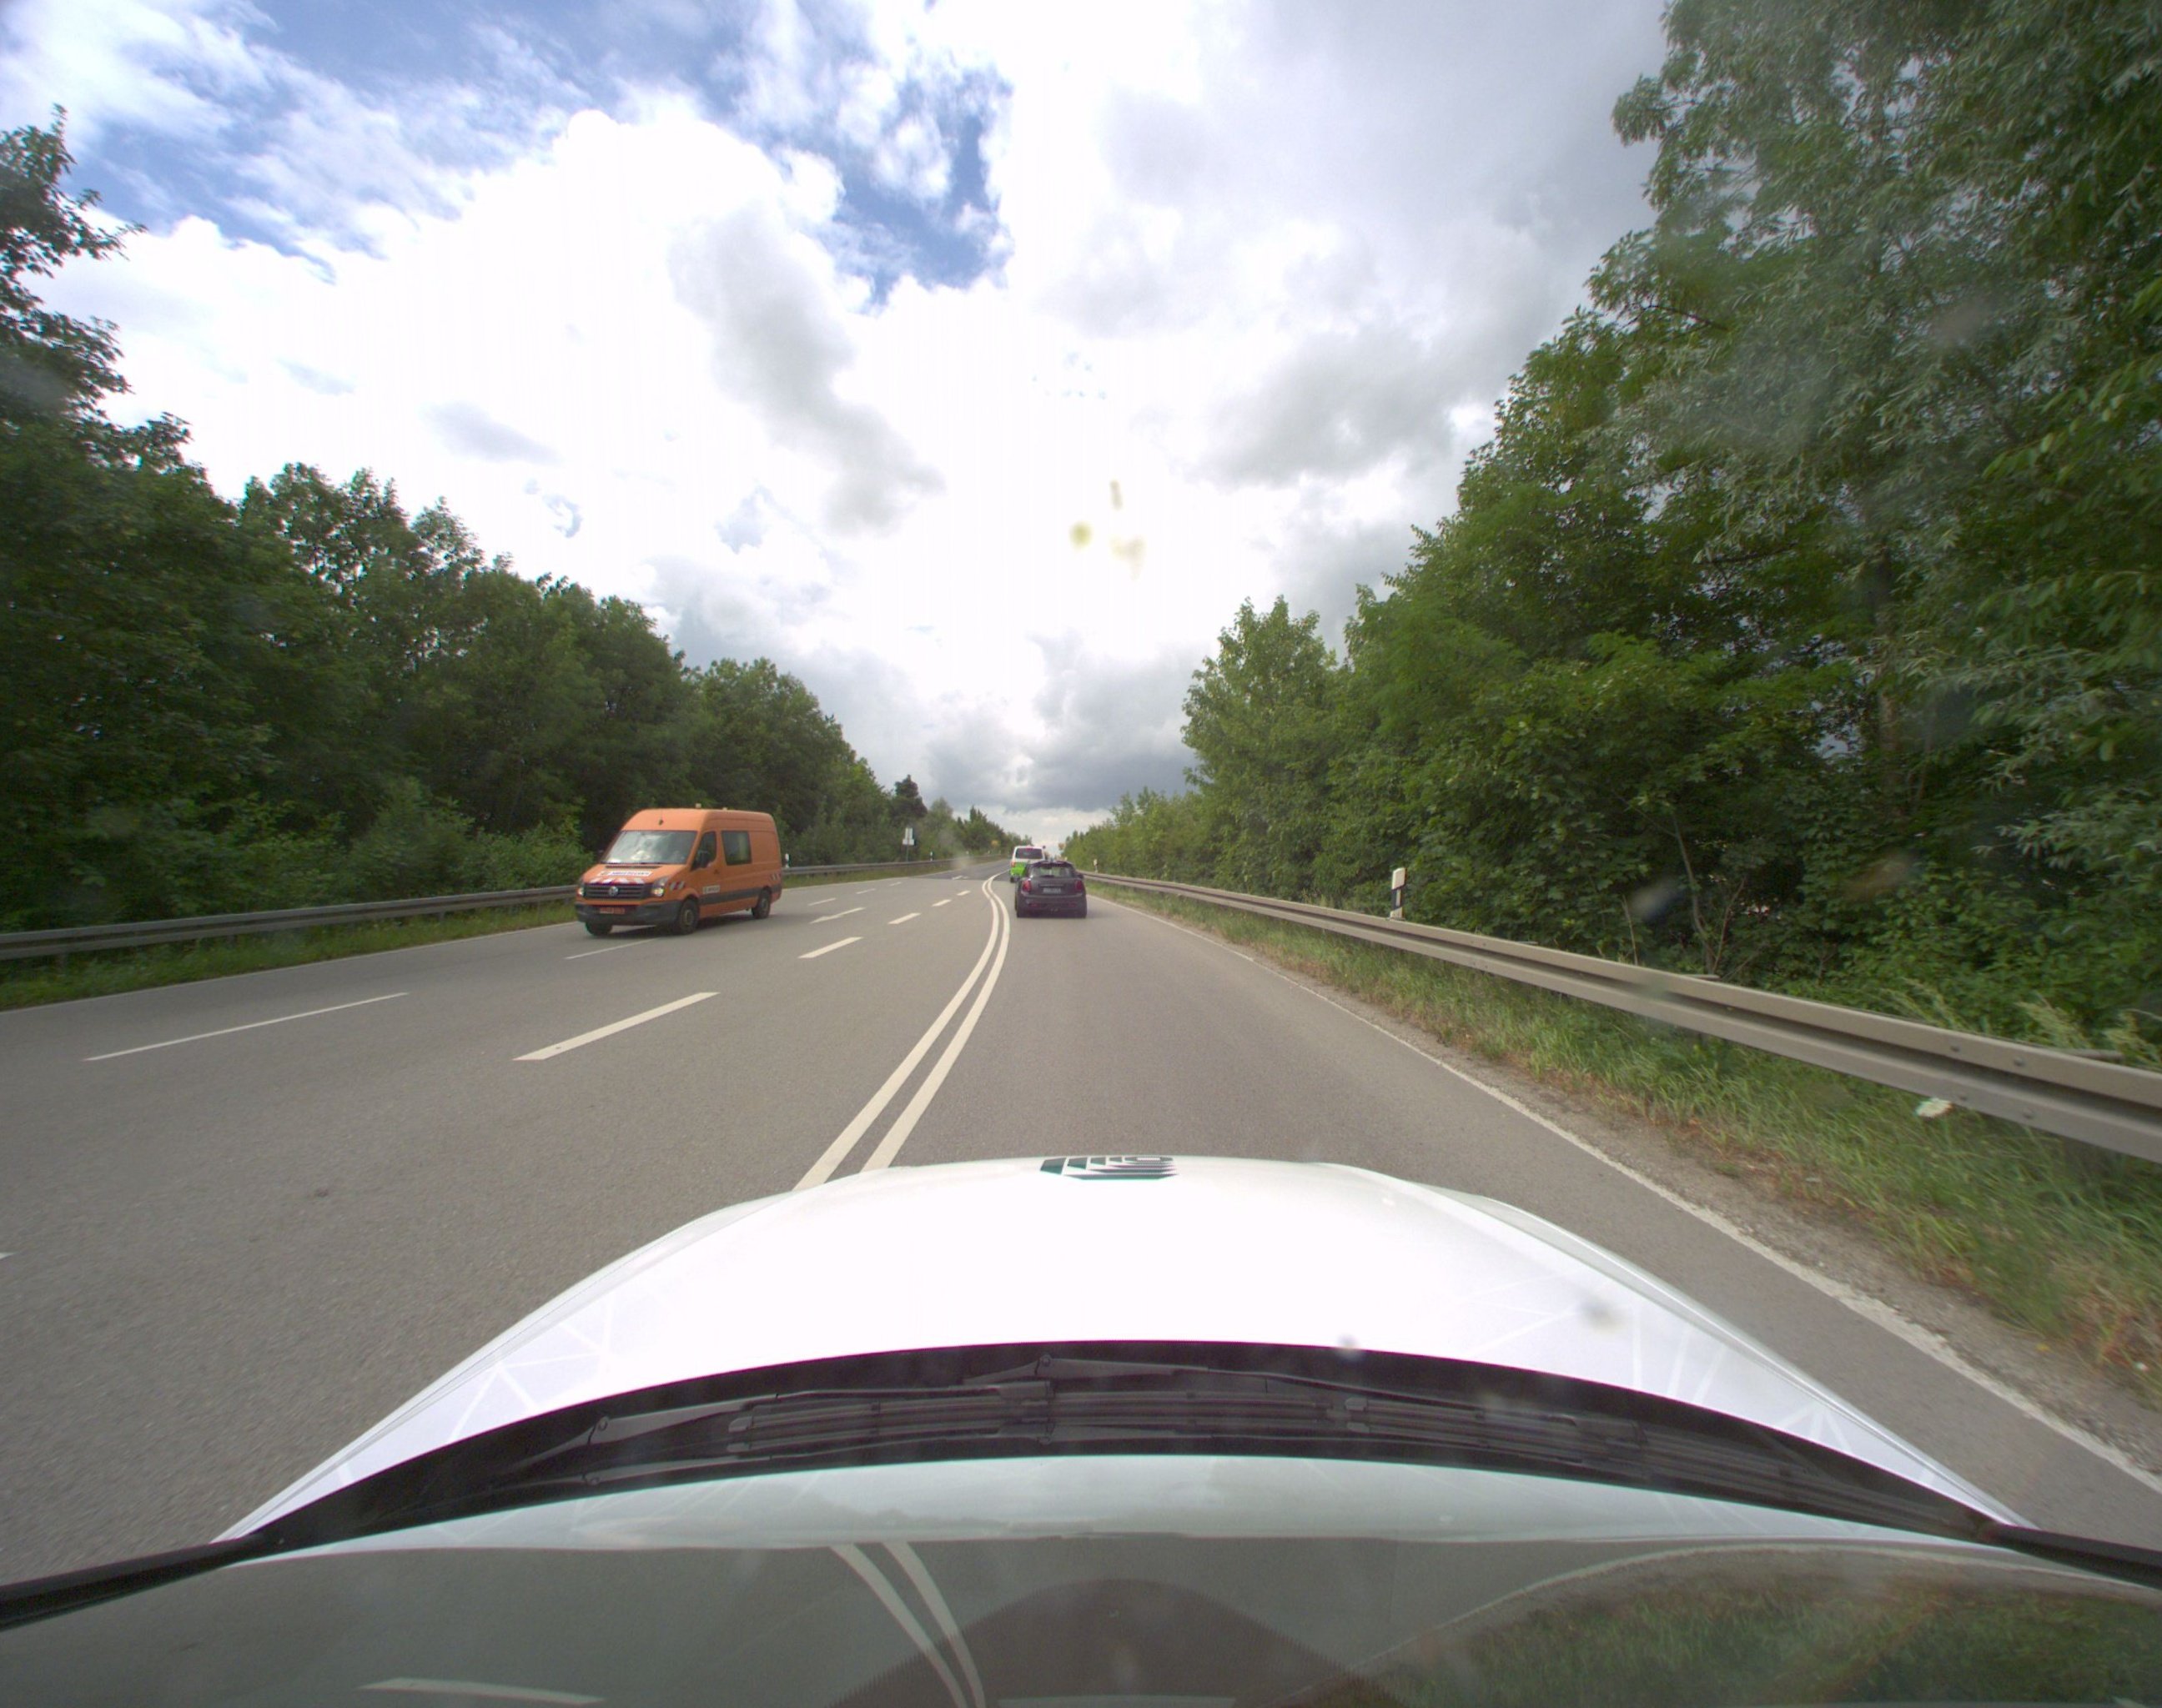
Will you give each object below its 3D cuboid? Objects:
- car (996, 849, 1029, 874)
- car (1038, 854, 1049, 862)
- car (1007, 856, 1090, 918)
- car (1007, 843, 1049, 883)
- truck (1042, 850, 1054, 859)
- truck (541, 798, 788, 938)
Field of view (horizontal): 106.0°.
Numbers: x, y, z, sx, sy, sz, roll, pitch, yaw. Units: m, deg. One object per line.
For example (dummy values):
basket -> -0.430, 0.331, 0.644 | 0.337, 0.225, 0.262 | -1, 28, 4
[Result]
car -> -4.690, 0.478, 56.186 | 1.983, 1.618, 4.150 | 2, 0, -2
car -> -6.202, 0.646, 133.986 | 1.689, 1.319, 3.999 | 0, 0, 0
car -> -0.952, 0.785, 21.519 | 1.731, 1.456, 3.988 | 0, 0, -9
car -> -2.921, 0.446, 43.957 | 2.020, 2.013, 3.991 | -1, 0, -7
truck -> -8.605, 0.046, 215.482 | 2.901, 2.372, 10.446 | -1, 0, -1
truck -> -8.825, 0.236, 18.147 | 2.308, 2.601, 6.024 | 0, 0, 1
